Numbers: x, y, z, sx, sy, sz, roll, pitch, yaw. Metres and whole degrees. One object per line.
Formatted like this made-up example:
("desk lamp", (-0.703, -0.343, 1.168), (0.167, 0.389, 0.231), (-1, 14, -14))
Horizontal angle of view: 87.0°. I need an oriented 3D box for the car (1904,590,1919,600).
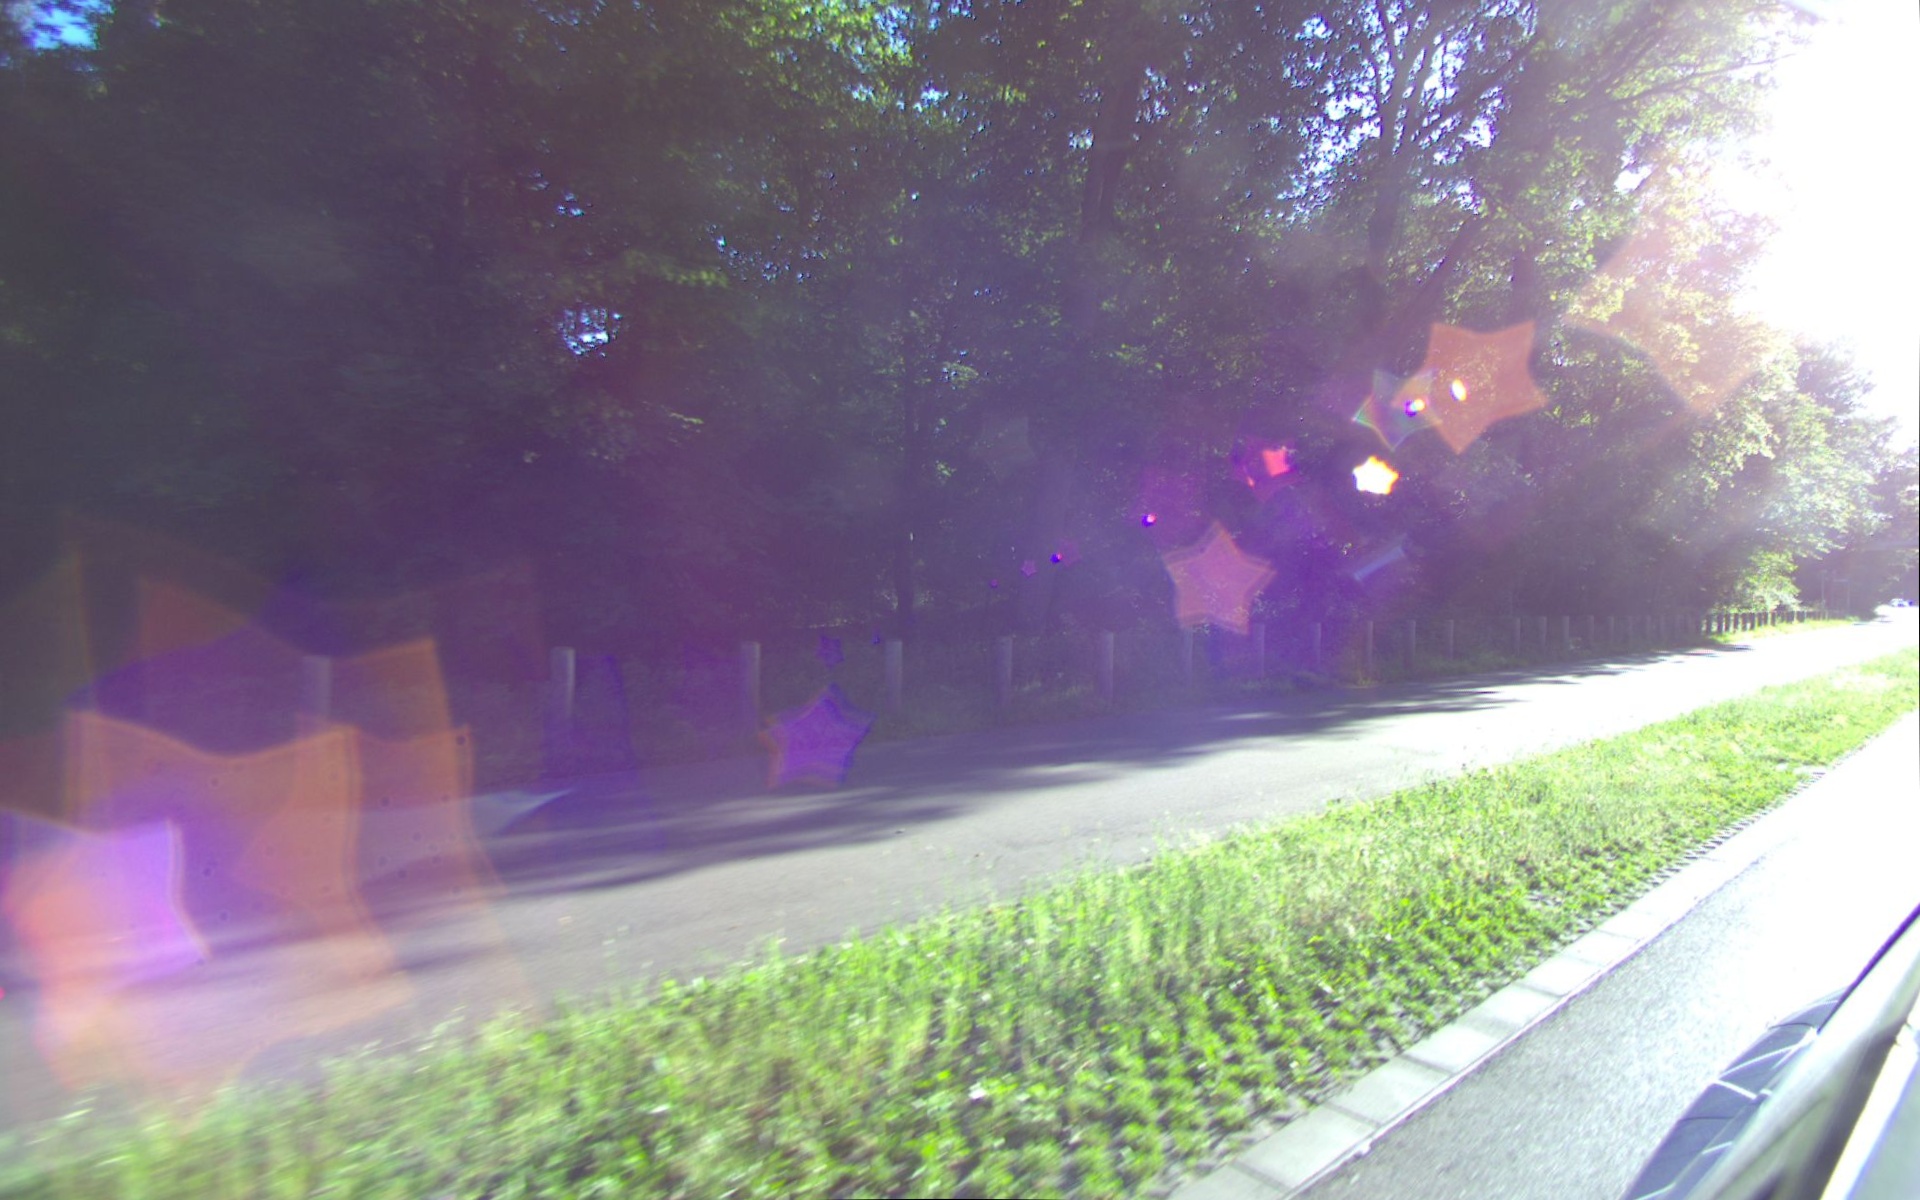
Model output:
("car", (164.956, -0.940, 175.089), (1.816, 1.705, 3.949), (1, 1, 35))
